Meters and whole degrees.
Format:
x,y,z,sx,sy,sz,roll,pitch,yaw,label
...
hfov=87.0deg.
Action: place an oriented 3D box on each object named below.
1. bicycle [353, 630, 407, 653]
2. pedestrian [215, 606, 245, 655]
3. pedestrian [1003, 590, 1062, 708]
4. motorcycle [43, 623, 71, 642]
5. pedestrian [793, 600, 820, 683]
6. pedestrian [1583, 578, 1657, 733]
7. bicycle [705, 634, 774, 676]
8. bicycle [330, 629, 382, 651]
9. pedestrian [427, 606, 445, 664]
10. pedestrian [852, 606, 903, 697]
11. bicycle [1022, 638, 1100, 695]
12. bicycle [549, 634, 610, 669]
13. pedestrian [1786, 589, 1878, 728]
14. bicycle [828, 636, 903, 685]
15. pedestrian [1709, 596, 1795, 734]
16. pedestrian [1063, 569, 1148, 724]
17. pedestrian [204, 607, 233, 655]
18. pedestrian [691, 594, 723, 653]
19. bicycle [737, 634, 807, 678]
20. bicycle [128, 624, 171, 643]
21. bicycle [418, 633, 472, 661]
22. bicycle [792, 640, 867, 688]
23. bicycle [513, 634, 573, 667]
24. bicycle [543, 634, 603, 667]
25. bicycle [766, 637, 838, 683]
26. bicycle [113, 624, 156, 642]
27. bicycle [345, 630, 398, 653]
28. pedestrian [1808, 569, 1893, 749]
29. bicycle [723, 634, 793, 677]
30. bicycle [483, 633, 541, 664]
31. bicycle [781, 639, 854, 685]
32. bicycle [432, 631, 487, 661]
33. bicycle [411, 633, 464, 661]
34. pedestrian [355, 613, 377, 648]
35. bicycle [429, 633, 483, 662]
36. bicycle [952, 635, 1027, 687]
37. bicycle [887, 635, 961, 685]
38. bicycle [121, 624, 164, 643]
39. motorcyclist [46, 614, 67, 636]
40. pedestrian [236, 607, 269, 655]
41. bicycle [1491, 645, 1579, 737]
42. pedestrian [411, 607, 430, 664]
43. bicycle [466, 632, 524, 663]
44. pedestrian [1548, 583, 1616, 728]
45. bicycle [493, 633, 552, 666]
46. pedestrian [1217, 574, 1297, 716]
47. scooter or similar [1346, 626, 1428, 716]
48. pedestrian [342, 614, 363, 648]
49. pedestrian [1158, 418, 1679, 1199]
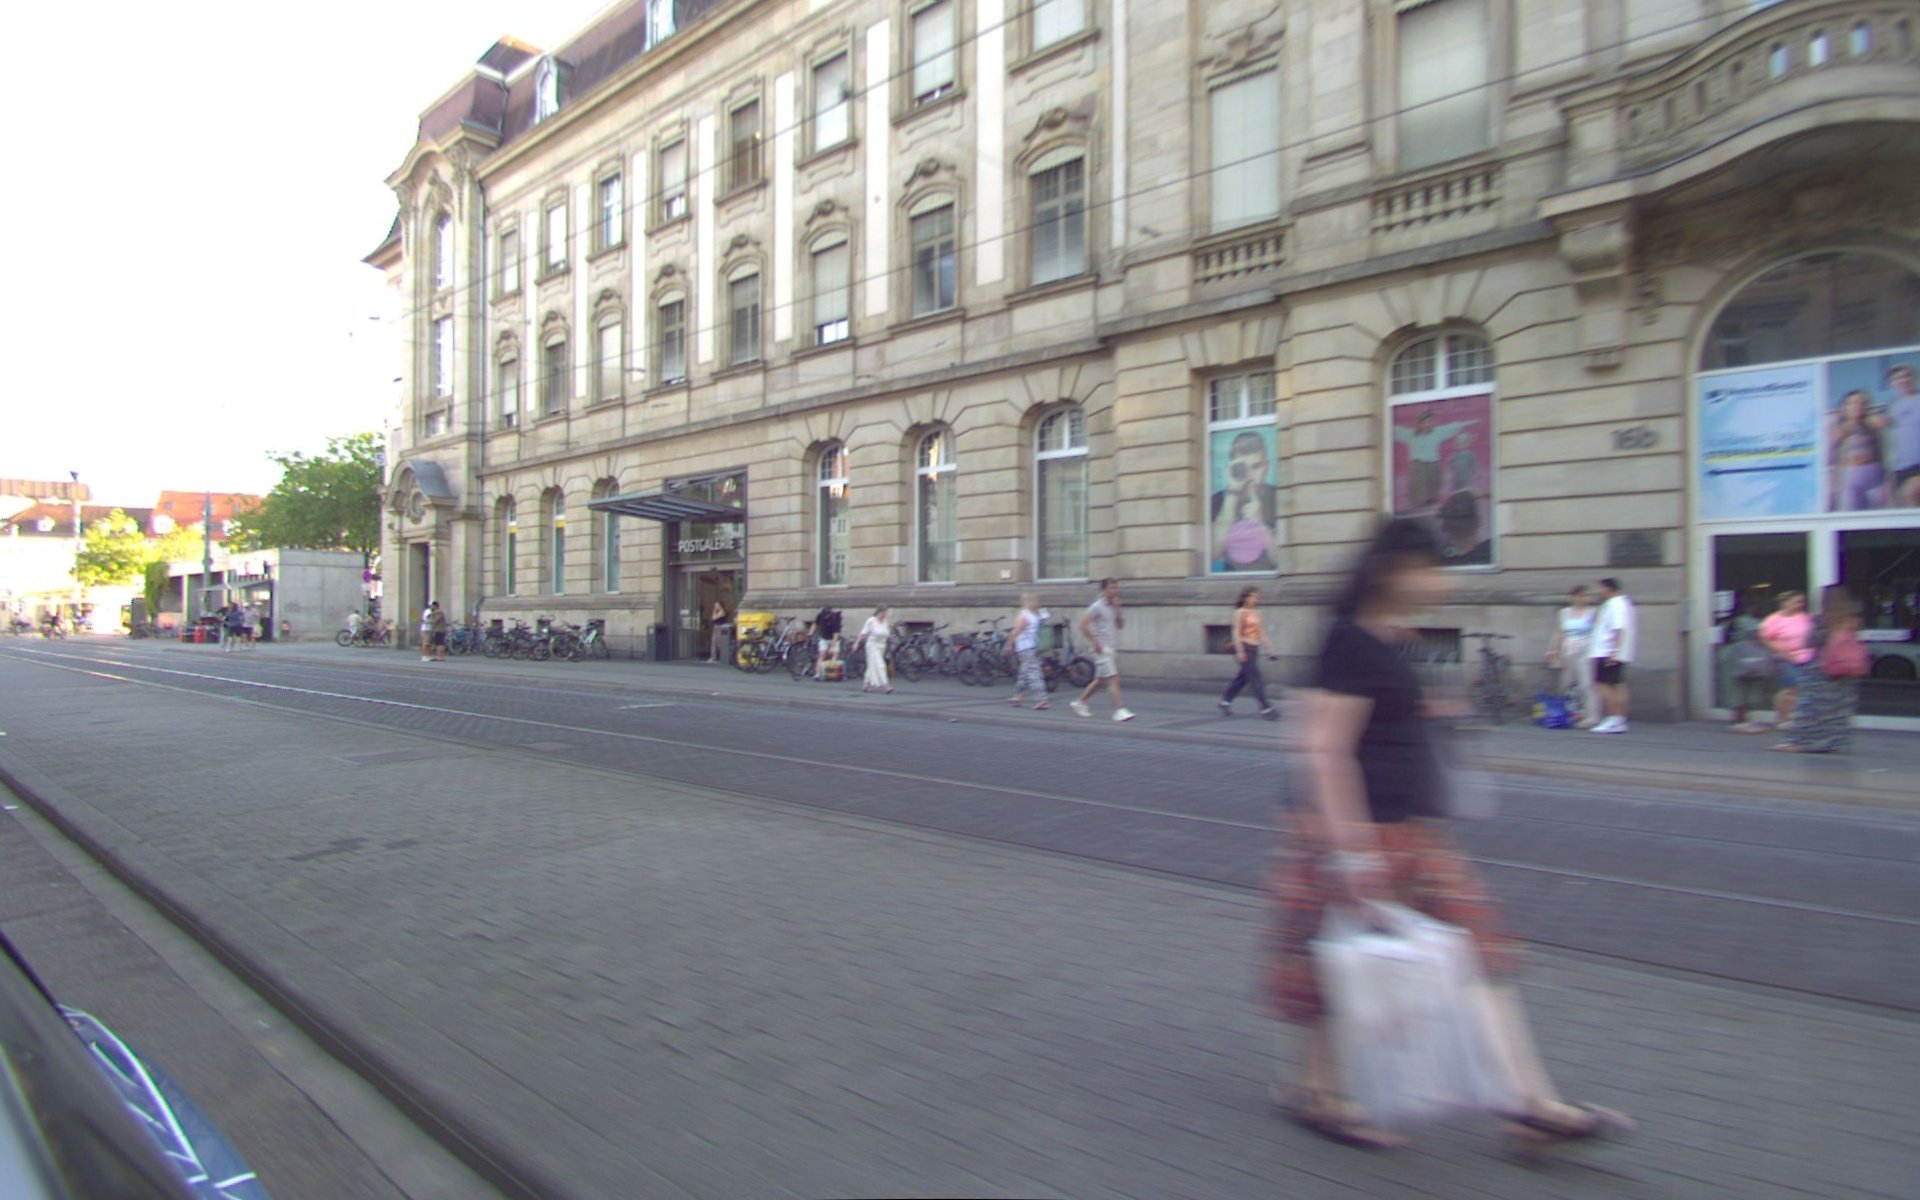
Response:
x,y,z,sx,sy,sz,roll,pitch,yaw,label
-23.972,1.702,41.840,0.634,0.875,1.817,-1,0,38,bicycle
-26.448,1.118,36.670,0.672,1.749,0.482,0,-2,5,pedestrian
0.995,0.664,13.889,0.674,1.573,0.658,-1,-1,17,pedestrian
-60.884,2.167,68.222,1.769,1.247,0.799,-1,0,26,motorcycle
-3.123,0.836,20.599,0.360,1.646,0.430,-1,0,-44,pedestrian
7.285,0.592,11.174,0.470,1.654,0.563,-1,0,-41,pedestrian
-5.093,1.257,23.454,1.557,0.880,0.451,-1,0,-45,bicycle
-26.056,1.700,43.677,0.634,0.875,1.817,-1,0,38,bicycle
-15.379,1.025,29.714,0.370,1.686,0.495,-1,0,-17,pedestrian
-1.382,0.847,16.997,0.682,1.477,0.558,0,-1,-28,pedestrian
1.752,1.125,17.446,1.557,0.880,0.451,-1,0,-45,bicycle
-10.727,1.438,28.550,1.557,0.880,0.451,-1,0,-45,bicycle
9.691,0.633,11.263,0.589,1.501,0.538,-1,0,17,pedestrian
-1.885,1.202,20.339,1.557,0.880,0.451,-1,0,-45,bicycle
8.613,0.689,11.021,0.433,1.451,0.573,-1,0,-13,pedestrian
1.790,0.554,12.465,0.813,1.826,0.686,-1,-1,34,pedestrian
-27.253,1.132,37.186,0.593,1.749,0.643,-1,-3,31,pedestrian
-6.764,0.634,27.073,0.726,1.544,0.779,0,-1,-6,pedestrian
-4.185,1.240,22.623,1.557,0.880,0.451,-1,0,-45,bicycle
-51.745,2.147,64.624,0.692,1.168,2.104,-1,-1,42,bicycle
-17.427,1.581,34.285,1.557,0.880,0.451,-1,0,-45,bicycle
-2.636,1.288,20.594,1.557,0.880,0.451,-1,0,-45,bicycle
-12.114,1.451,29.431,1.557,0.880,0.451,-1,0,-45,bicycle
-11.136,1.440,29.177,1.557,0.880,0.451,-1,0,-45,bicycle
-3.401,1.282,21.852,1.557,0.880,0.451,-1,0,-45,bicycle
-54.402,2.171,66.678,0.692,1.168,2.104,-1,-1,42,bicycle
-24.562,1.707,42.262,0.634,0.875,1.817,-1,0,38,bicycle
8.302,0.526,9.445,0.572,1.617,0.434,-1,0,42,pedestrian
-4.585,1.253,23.054,1.557,0.880,0.451,-1,0,-45,bicycle
-13.761,1.480,31.119,1.557,0.880,0.451,-1,0,-45,bicycle
-2.990,1.289,21.354,1.557,0.880,0.451,-1,0,-45,bicycle
-16.230,1.488,32.840,1.557,0.880,0.451,-1,0,-45,bicycle
-17.854,1.585,34.615,1.557,0.880,0.451,-1,0,-45,bicycle
-26.872,1.384,45.768,0.679,1.573,0.653,-1,-1,37,pedestrian
-16.750,1.576,33.662,1.557,0.880,0.451,-1,0,-45,bicycle
0.558,1.128,18.931,1.557,0.880,0.451,-1,0,-45,bicycle
-0.694,1.171,19.964,1.557,0.880,0.451,-1,0,-45,bicycle
-53.003,2.158,65.645,0.692,1.168,2.104,-1,-1,42,bicycle
-60.941,1.665,68.239,0.795,1.450,0.794,-1,0,24,motorcyclist
-26.168,1.165,37.441,0.671,1.749,0.676,0,-2,1,pedestrian
6.435,0.985,11.296,1.557,0.880,0.451,-1,0,-45,bicycle
-15.777,1.030,29.608,0.370,1.643,0.495,-1,0,-15,pedestrian
-14.464,1.472,31.497,1.557,0.880,0.451,-1,0,-45,bicycle
7.290,0.628,11.867,0.331,1.654,0.607,-1,0,-42,pedestrian
-12.946,1.459,29.987,1.557,0.880,0.451,-1,0,-45,bicycle
3.751,0.554,12.765,0.812,1.725,0.687,-1,-1,31,pedestrian
5.654,0.907,13.357,1.529,1.076,0.451,-1,0,-45,scooter or similar
-27.962,1.424,46.580,0.679,1.573,0.653,-1,-1,37,pedestrian
1.073,0.449,2.362,0.900,1.512,0.837,-1,-1,40,pedestrian
